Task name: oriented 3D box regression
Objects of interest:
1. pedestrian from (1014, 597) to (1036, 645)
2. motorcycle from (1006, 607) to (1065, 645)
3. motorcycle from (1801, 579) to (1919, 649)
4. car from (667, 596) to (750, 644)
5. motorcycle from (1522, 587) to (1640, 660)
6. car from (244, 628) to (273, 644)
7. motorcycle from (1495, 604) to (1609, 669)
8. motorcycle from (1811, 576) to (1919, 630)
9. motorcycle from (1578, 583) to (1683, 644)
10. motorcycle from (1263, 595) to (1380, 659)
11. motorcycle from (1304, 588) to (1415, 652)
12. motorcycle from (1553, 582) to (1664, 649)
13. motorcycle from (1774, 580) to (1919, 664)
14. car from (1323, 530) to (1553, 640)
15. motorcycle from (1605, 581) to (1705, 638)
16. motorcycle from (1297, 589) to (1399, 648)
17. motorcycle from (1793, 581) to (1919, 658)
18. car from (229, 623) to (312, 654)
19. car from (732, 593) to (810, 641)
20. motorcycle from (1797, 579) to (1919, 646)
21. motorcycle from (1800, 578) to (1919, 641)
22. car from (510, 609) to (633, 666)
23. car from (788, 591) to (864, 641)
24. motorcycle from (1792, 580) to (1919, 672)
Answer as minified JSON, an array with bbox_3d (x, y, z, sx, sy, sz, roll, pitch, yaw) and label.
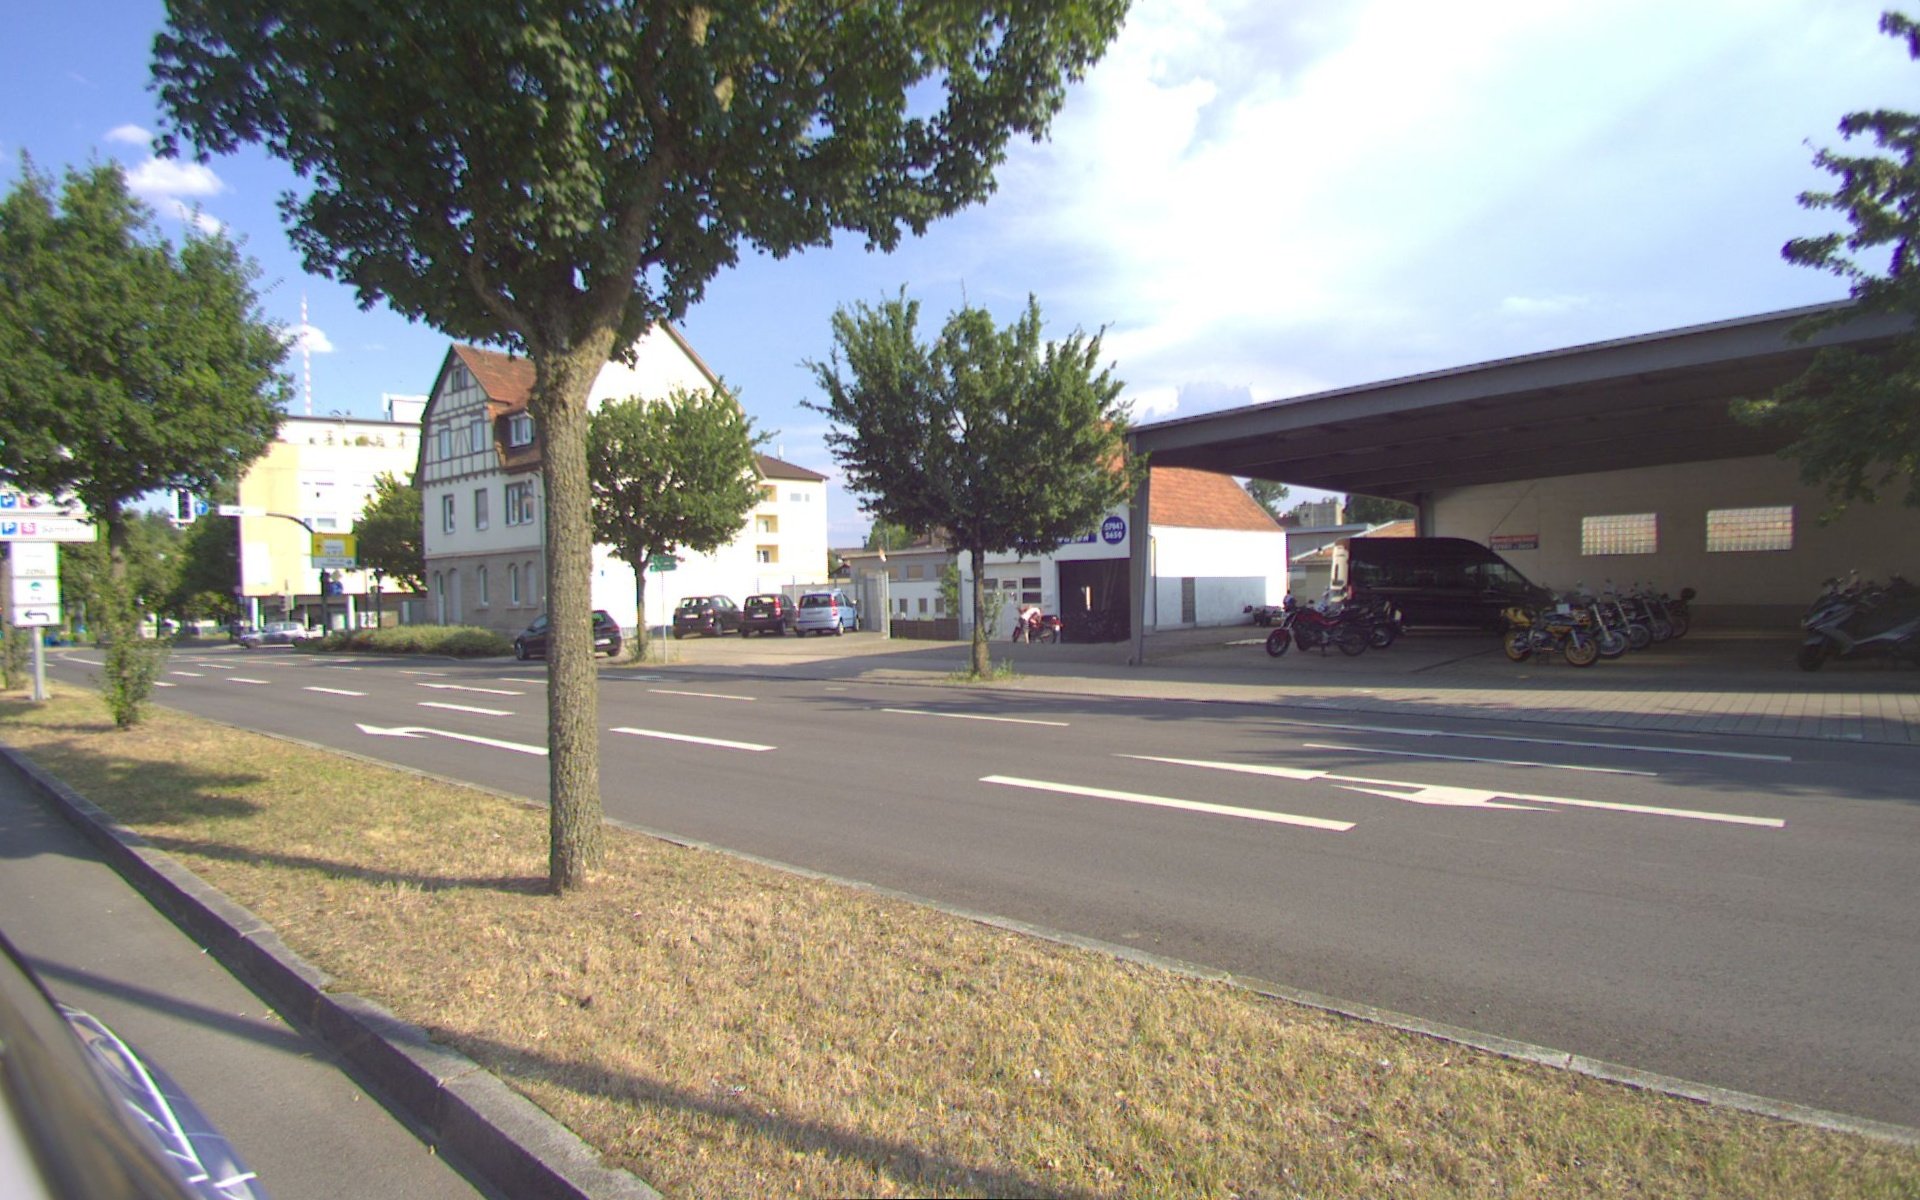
[{"bbox_3d":[2.096,0.678,32.754,0.485,1.530,0.496,-1,0,41],"label":"pedestrian"},{"bbox_3d":[2.458,0.842,33.200,1.974,1.194,0.577,-1,0,41],"label":"motorcycle"},{"bbox_3d":[18.069,0.272,19.978,2.103,1.306,0.628,-3,-1,17],"label":"motorcycle"},{"bbox_3d":[-9.298,0.693,37.689,1.797,1.512,3.819,-3,2,5],"label":"car"},{"bbox_3d":[12.182,0.440,19.945,0.621,1.347,2.269,-1,0,-9],"label":"motorcycle"},{"bbox_3d":[-80.945,4.166,116.798,1.752,1.706,4.013,-1,0,-20],"label":"car"},{"bbox_3d":[10.555,0.621,18.141,0.621,1.095,2.038,-1,0,-7],"label":"motorcycle"},{"bbox_3d":[23.758,0.077,26.511,2.103,1.306,0.628,-3,-1,17],"label":"motorcycle"},{"bbox_3d":[15.561,0.305,23.568,0.621,1.347,2.269,-1,0,-9],"label":"motorcycle"},{"bbox_3d":[7.520,0.563,21.149,2.202,1.290,0.629,-1,0,11],"label":"motorcycle"},{"bbox_3d":[8.980,0.453,22.793,2.198,1.372,0.630,-1,0,5],"label":"motorcycle"},{"bbox_3d":[13.888,0.327,21.758,0.621,1.347,2.269,-1,0,-9],"label":"motorcycle"},{"bbox_3d":[14.937,0.363,16.765,2.103,1.306,0.628,-3,-1,17],"label":"motorcycle"},{"bbox_3d":[12.890,-0.375,27.618,5.221,2.773,1.996,-1,0,7],"label":"car"},{"bbox_3d":[17.314,0.223,25.292,0.621,1.347,2.269,-1,0,-9],"label":"motorcycle"},{"bbox_3d":[9.403,0.455,24.597,2.198,1.372,0.630,-1,0,5],"label":"motorcycle"},{"bbox_3d":[16.555,0.342,18.337,2.103,1.306,0.628,-3,-1,17],"label":"motorcycle"},{"bbox_3d":[-41.190,2.275,60.460,3.937,1.644,1.863,-1,0,-40],"label":"car"},{"bbox_3d":[-6.897,0.588,37.296,1.797,1.512,3.819,-3,2,5],"label":"car"},{"bbox_3d":[19.058,0.259,21.279,2.103,1.306,0.628,-3,-1,17],"label":"motorcycle"},{"bbox_3d":[20.252,0.210,22.633,2.103,1.306,0.628,-3,-1,17],"label":"motorcycle"},{"bbox_3d":[-11.576,1.082,30.066,3.823,1.462,1.795,-1,2,42],"label":"car"},{"bbox_3d":[-4.659,0.523,35.667,1.797,1.512,3.819,-3,2,5],"label":"car"},{"bbox_3d":[13.885,0.377,15.105,2.103,1.306,0.628,-3,-1,17],"label":"motorcycle"}]
